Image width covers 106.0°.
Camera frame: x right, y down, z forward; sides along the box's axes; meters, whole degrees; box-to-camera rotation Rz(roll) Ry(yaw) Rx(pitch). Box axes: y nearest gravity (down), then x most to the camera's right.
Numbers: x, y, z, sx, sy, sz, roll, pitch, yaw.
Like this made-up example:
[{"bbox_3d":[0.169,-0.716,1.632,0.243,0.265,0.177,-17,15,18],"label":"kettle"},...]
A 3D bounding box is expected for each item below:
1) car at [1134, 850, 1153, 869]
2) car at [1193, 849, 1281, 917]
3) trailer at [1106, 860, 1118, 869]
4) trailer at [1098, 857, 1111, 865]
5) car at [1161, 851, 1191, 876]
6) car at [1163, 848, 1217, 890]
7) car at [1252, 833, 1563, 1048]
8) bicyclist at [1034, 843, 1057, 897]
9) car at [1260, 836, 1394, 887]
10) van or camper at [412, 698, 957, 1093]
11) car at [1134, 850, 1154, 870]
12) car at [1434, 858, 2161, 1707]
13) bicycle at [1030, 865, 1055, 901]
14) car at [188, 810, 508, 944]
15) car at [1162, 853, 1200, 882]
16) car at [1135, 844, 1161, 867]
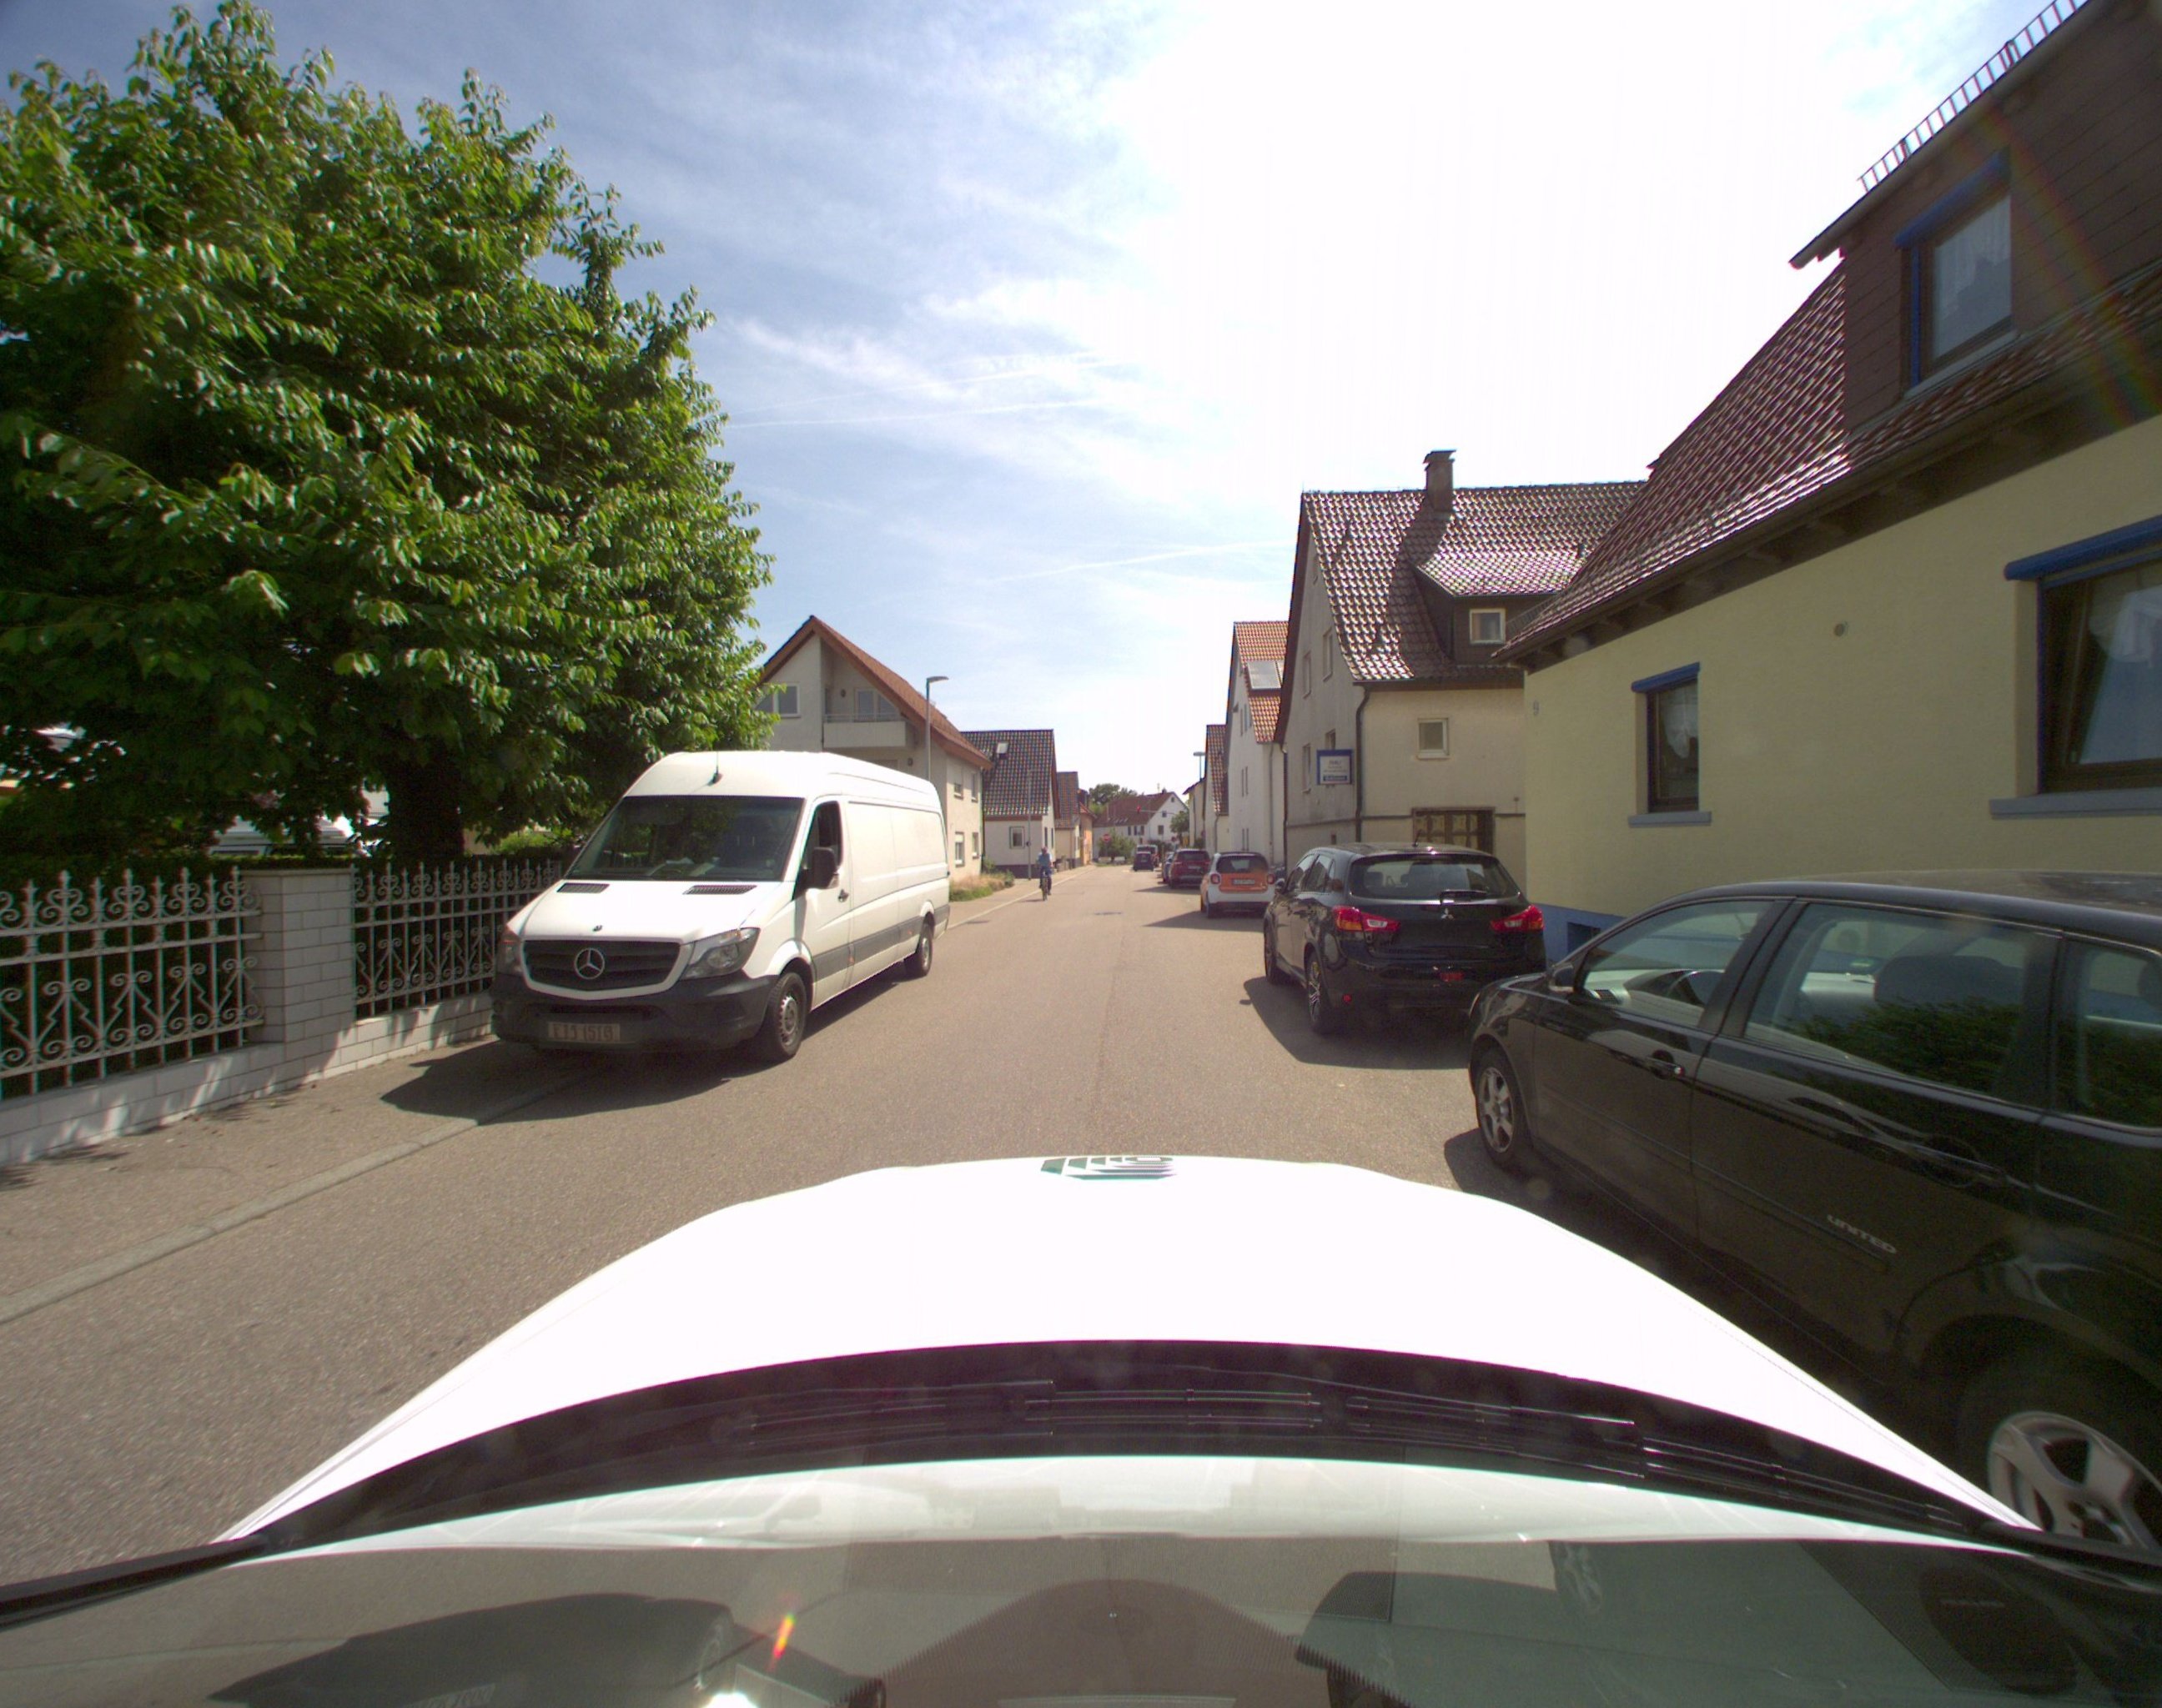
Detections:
[{"bbox_3d":[5.516,0.491,71.688,1.507,1.624,3.190,-1,0,7],"label":"car"},{"bbox_3d":[3.757,0.652,20.054,1.667,1.559,3.041,0,0,1],"label":"car"},{"bbox_3d":[3.586,1.174,94.581,1.304,0.970,0.935,-2,0,5],"label":"trailer"},{"bbox_3d":[2.797,0.820,96.360,1.494,0.927,1.014,1,0,5],"label":"trailer"},{"bbox_3d":[5.952,0.572,51.144,1.561,1.545,3.450,0,0,1],"label":"car"},{"bbox_3d":[4.642,0.612,35.223,1.868,1.700,4.185,0,0,2],"label":"car"},{"bbox_3d":[2.884,0.639,8.232,1.721,1.599,4.258,0,0,4],"label":"car"},{"bbox_3d":[-1.219,0.541,27.927,0.710,1.799,0.942,0,0,2],"label":"bicyclist"},{"bbox_3d":[9.206,0.279,30.797,4.500,1.843,2.000,0,0,0],"label":"car"},{"bbox_3d":[-3.138,0.257,8.747,2.175,2.571,6.813,0,0,3],"label":"van or camper"},{"bbox_3d":[5.124,0.493,66.125,1.508,1.567,3.190,0,0,7],"label":"car"},{"bbox_3d":[2.639,0.746,2.676,1.603,1.431,3.759,0,0,5],"label":"car"},{"bbox_3d":[-1.299,0.975,28.011,0.667,1.132,2.190,0,0,3],"label":"bicycle"},{"bbox_3d":[-14.850,0.443,16.699,4.784,2.492,1.967,-1,0,2],"label":"car"},{"bbox_3d":[5.035,0.646,41.354,1.755,1.424,4.598,0,0,5],"label":"car"},{"bbox_3d":[6.697,0.175,80.468,2.116,2.158,4.749,-1,0,10],"label":"car"}]
